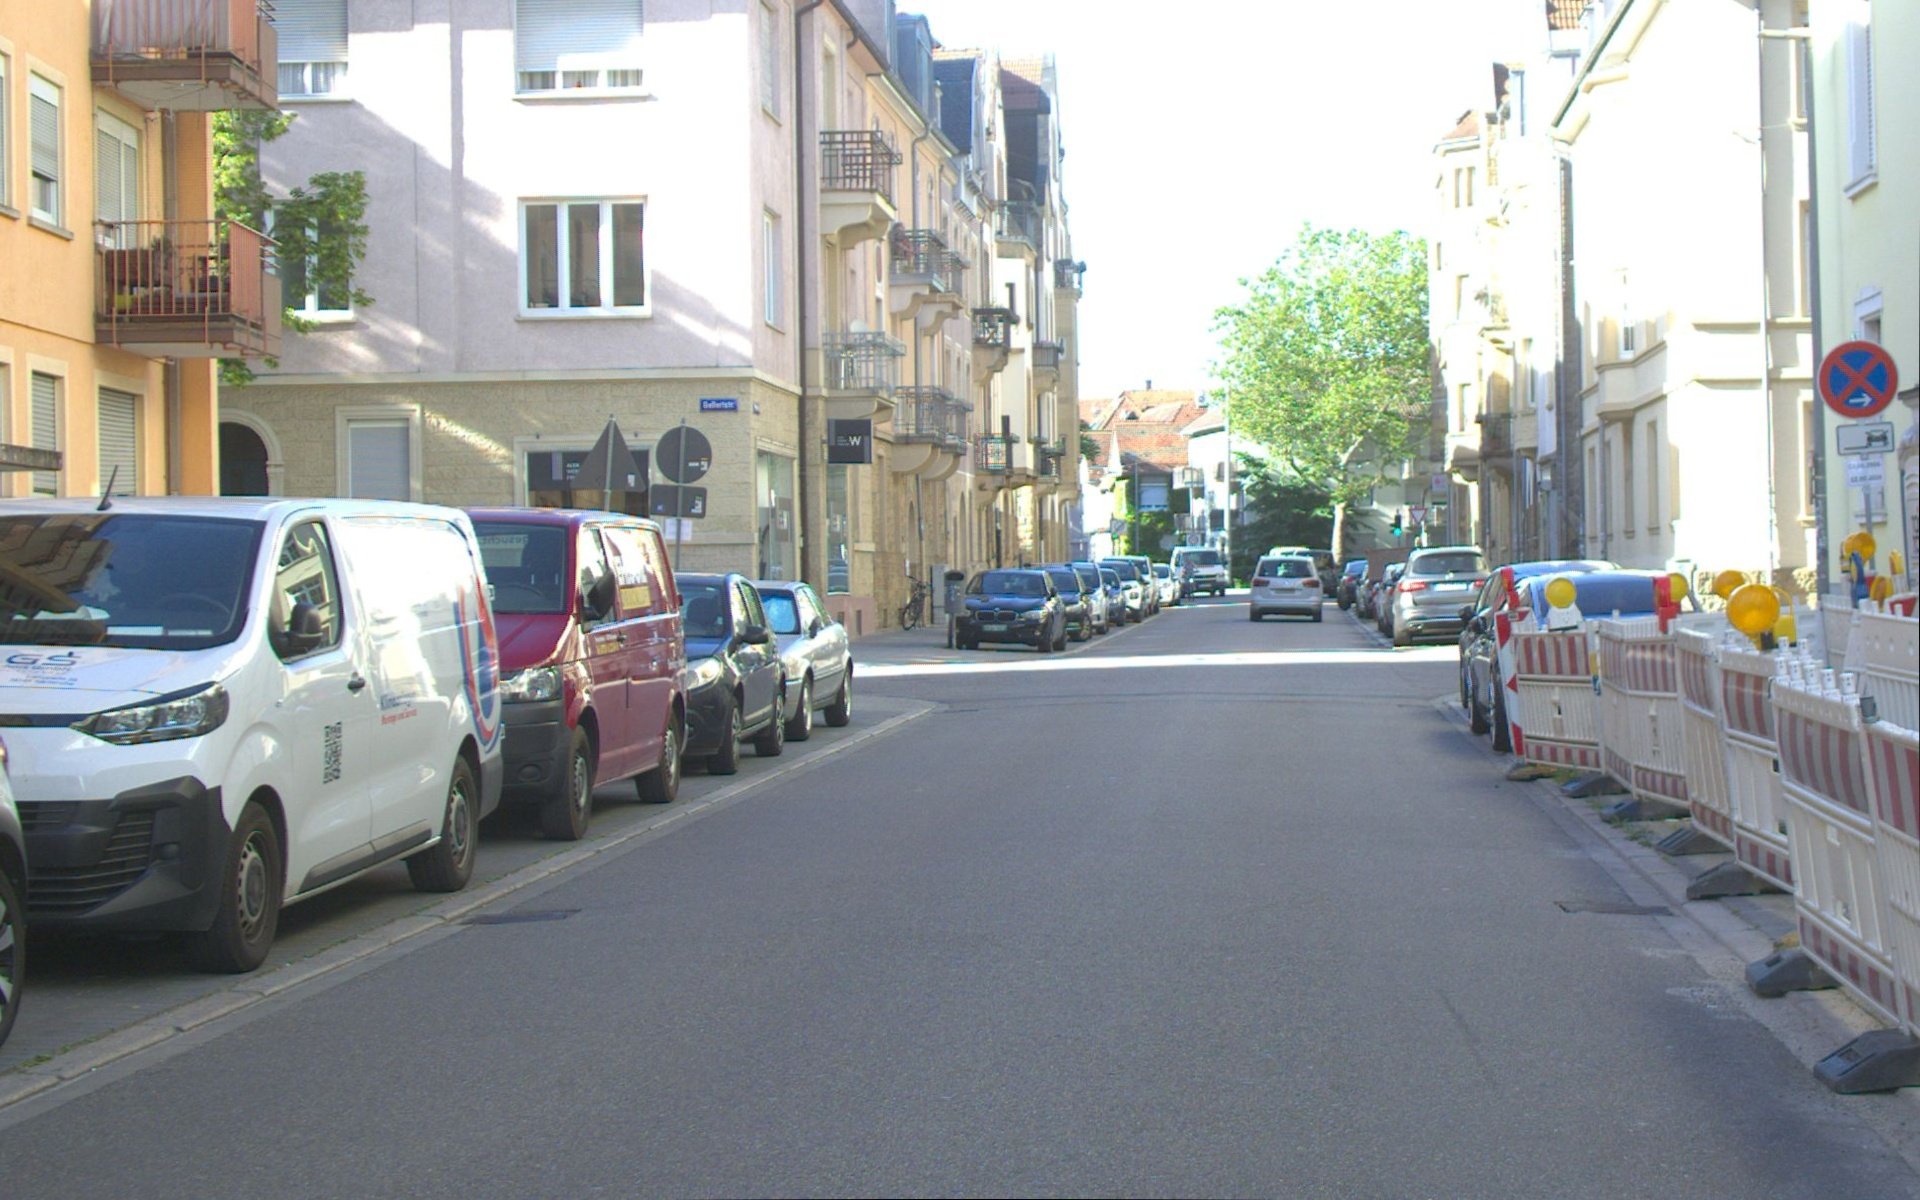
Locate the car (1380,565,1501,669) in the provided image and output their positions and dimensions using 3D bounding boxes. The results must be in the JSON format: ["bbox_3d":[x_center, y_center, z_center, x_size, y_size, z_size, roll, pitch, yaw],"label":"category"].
[{"bbox_3d":[8.141,0.327,58.377,1.914,1.639,4.771,-1,-1,8],"label":"car"}]

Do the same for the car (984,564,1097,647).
[{"bbox_3d":[1.685,0.124,70.033,2.004,1.577,4.486,2,0,5],"label":"car"}]

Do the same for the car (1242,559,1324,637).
[{"bbox_3d":[8.403,-0.025,89.387,2.004,1.907,4.486,2,0,5],"label":"car"}]

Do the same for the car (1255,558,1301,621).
[{"bbox_3d":[13.539,-0.421,146.330,1.839,2.525,4.174,-1,-2,6],"label":"car"}]

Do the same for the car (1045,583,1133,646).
[{"bbox_3d":[3.277,0.376,86.528,1.979,1.477,4.327,2,0,5],"label":"car"}]

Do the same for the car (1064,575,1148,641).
[{"bbox_3d":[3.896,0.228,91.109,2.004,1.613,4.486,2,0,5],"label":"car"}]

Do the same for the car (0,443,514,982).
[{"bbox_3d":[-3.502,0.380,14.994,1.976,1.918,5.308,1,0,5],"label":"car"}]

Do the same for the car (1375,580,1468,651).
[{"bbox_3d":[9.974,0.352,74.513,1.839,1.427,4.027,-1,-1,6],"label":"car"}]

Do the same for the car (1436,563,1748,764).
[{"bbox_3d":[5.199,0.473,28.934,1.801,1.466,5.111,-2,0,2],"label":"car"}]

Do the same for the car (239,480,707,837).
[{"bbox_3d":[-2.836,0.304,21.168,1.763,1.918,4.934,1,0,5],"label":"car"}]

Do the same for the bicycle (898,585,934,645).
[{"bbox_3d":[-0.962,0.326,75.638,0.541,1.297,1.866,1,0,6],"label":"bicycle"}]

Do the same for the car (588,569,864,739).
[{"bbox_3d":[-2.095,0.454,32.053,1.763,1.373,4.477,3,1,6],"label":"car"}]

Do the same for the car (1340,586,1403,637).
[{"bbox_3d":[12.671,0.372,106.018,1.839,1.427,4.027,-1,-2,6],"label":"car"}]

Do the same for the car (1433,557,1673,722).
[{"bbox_3d":[5.818,0.360,34.170,1.763,1.466,4.084,-2,0,2],"label":"car"}]

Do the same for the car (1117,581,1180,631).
[{"bbox_3d":[6.427,0.223,116.807,2.004,1.600,4.486,2,0,5],"label":"car"}]

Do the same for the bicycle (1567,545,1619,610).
[{"bbox_3d":[12.419,-0.442,67.522,0.761,1.242,2.591,0,0,5],"label":"bicycle"}]

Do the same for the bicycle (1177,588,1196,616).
[{"bbox_3d":[8.515,0.092,129.218,0.662,1.015,2.066,-2,-1,4],"label":"bicycle"}]

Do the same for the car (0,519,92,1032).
[{"bbox_3d":[-4.016,0.551,9.596,1.763,1.615,4.294,1,0,5],"label":"car"}]

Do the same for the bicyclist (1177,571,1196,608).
[{"bbox_3d":[8.515,-0.383,129.238,0.662,1.381,0.754,-2,-1,5],"label":"bicyclist"}]

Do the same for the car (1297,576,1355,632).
[{"bbox_3d":[13.835,0.171,130.132,2.004,1.993,4.486,2,0,5],"label":"car"}]

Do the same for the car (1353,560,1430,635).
[{"bbox_3d":[10.941,-0.033,87.283,1.839,1.781,4.027,-1,-2,6],"label":"car"}]

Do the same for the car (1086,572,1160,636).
[{"bbox_3d":[4.882,0.141,102.335,2.004,1.782,4.486,2,0,5],"label":"car"}]

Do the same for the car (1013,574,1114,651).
[{"bbox_3d":[2.365,0.288,77.535,2.004,1.613,4.486,2,0,5],"label":"car"}]

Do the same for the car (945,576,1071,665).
[{"bbox_3d":[0.864,0.357,59.499,1.680,1.422,4.272,2,0,7],"label":"car"}]

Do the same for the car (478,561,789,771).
[{"bbox_3d":[-2.456,0.468,26.773,1.763,1.497,3.999,-1,0,4],"label":"car"}]

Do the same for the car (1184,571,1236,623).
[{"bbox_3d":[10.076,-0.118,138.525,2.004,1.993,4.486,2,0,5],"label":"car"}]
